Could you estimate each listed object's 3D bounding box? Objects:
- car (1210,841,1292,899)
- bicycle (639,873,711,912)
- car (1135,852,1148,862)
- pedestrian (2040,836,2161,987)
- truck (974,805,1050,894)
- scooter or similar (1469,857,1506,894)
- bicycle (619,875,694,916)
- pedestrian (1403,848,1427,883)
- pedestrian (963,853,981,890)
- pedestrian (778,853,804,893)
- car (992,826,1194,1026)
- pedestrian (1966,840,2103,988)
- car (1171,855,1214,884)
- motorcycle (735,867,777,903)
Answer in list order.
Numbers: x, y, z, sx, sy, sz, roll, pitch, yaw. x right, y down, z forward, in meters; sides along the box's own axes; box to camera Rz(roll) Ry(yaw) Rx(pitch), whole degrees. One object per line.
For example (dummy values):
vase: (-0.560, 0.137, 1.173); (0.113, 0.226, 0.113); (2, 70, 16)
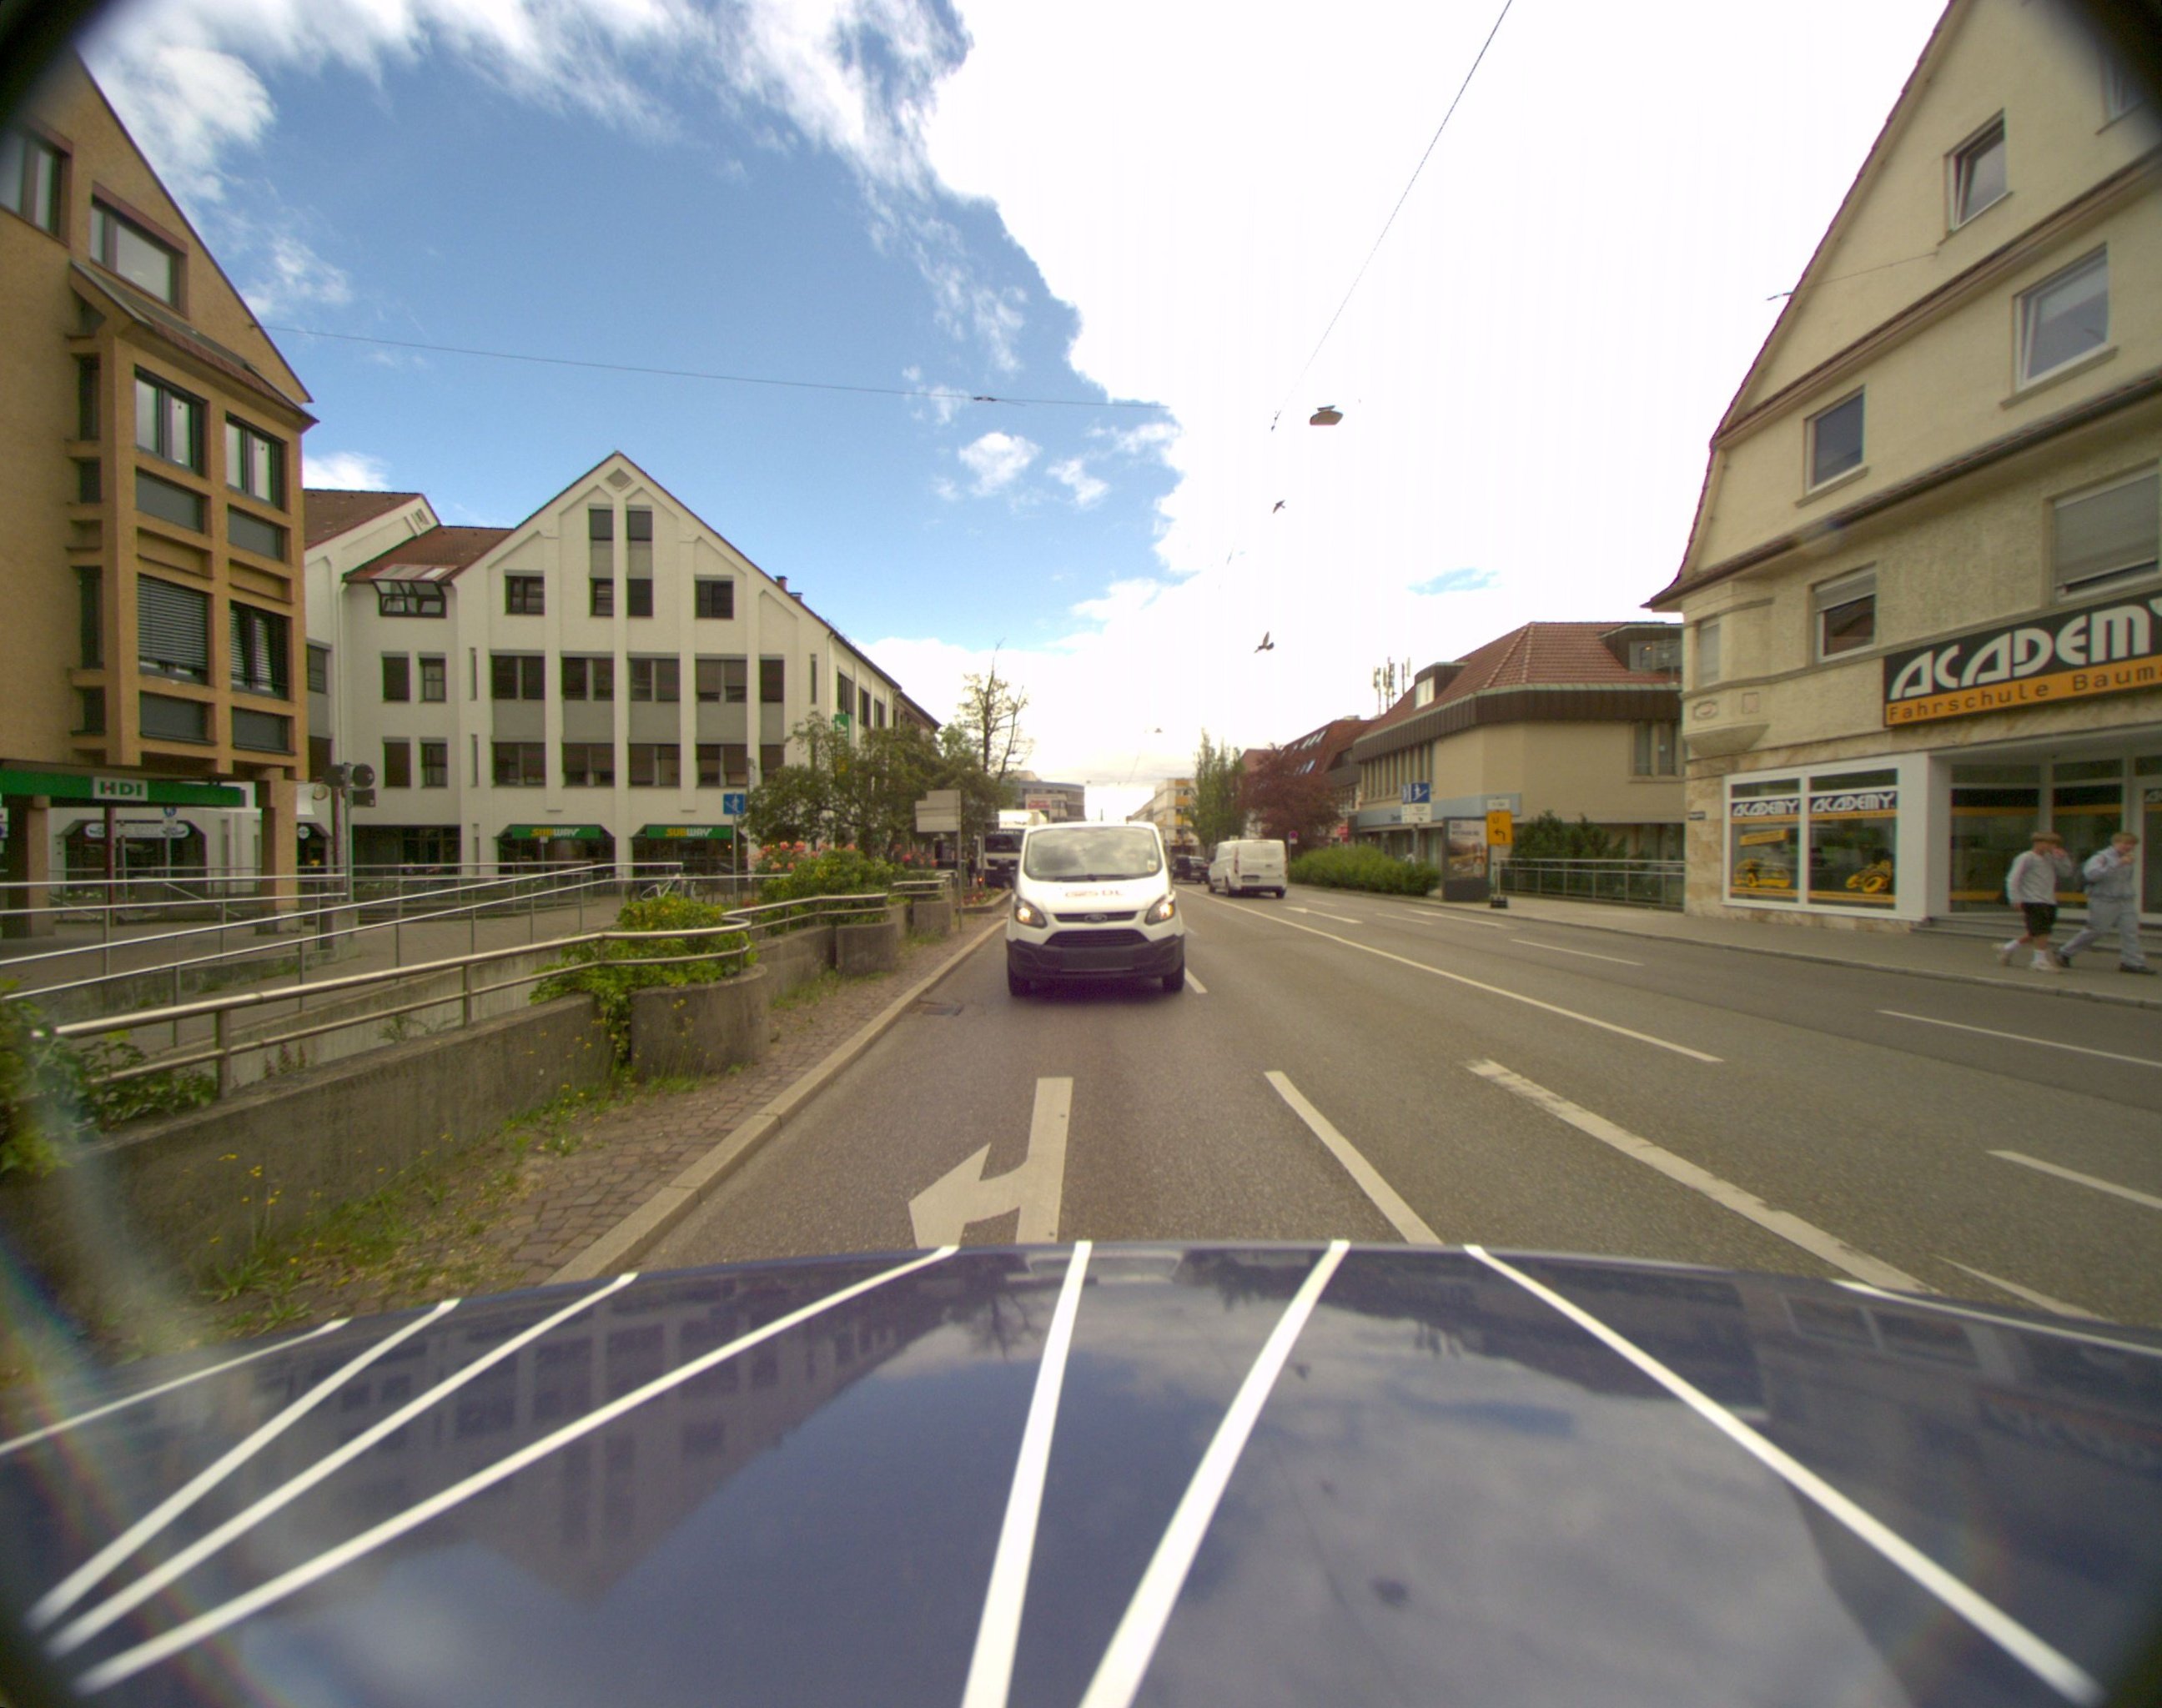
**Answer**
car: (5.940, 0.534, 27.079); (1.957, 1.898, 4.321); (0, 0, 0)
bicycle: (-10.715, 1.013, 20.086); (1.594, 0.963, 0.461); (-1, 1, -14)
car: (9.000, 0.458, 112.558); (1.650, 1.391, 3.541); (0, 0, 0)
pedestrian: (12.073, 0.647, 8.915); (0.689, 1.660, 0.709); (-3, 1, 0)
truck: (-2.920, -0.218, 34.579); (2.446, 3.464, 8.346); (-2, 1, 1)
scooter or similar: (15.424, 0.814, 28.809); (1.193, 1.385, 0.538); (0, 1, -15)
bicycle: (-10.734, 1.045, 19.260); (1.594, 0.996, 0.414); (-1, 1, -13)
pedestrian: (16.781, 0.554, 38.145); (0.835, 1.748, 0.837); (0, 1, 1)
pedestrian: (-4.763, 0.763, 33.216); (0.653, 1.568, 0.684); (-1, 1, 1)
pedestrian: (-12.838, 0.818, 33.635); (0.887, 1.747, 0.943); (-1, 1, -11)
car: (0.121, 0.711, 10.181); (1.964, 1.948, 5.163); (-2, 0, 0)
pedestrian: (11.349, 0.687, 9.068); (0.689, 1.680, 0.742); (-2, 1, 0)
car: (5.728, 0.756, 39.302); (1.650, 1.391, 3.541); (0, 0, 0)
motorcycle: (-10.362, 0.962, 24.307); (0.464, 1.062, 1.995); (0, 0, 0)
